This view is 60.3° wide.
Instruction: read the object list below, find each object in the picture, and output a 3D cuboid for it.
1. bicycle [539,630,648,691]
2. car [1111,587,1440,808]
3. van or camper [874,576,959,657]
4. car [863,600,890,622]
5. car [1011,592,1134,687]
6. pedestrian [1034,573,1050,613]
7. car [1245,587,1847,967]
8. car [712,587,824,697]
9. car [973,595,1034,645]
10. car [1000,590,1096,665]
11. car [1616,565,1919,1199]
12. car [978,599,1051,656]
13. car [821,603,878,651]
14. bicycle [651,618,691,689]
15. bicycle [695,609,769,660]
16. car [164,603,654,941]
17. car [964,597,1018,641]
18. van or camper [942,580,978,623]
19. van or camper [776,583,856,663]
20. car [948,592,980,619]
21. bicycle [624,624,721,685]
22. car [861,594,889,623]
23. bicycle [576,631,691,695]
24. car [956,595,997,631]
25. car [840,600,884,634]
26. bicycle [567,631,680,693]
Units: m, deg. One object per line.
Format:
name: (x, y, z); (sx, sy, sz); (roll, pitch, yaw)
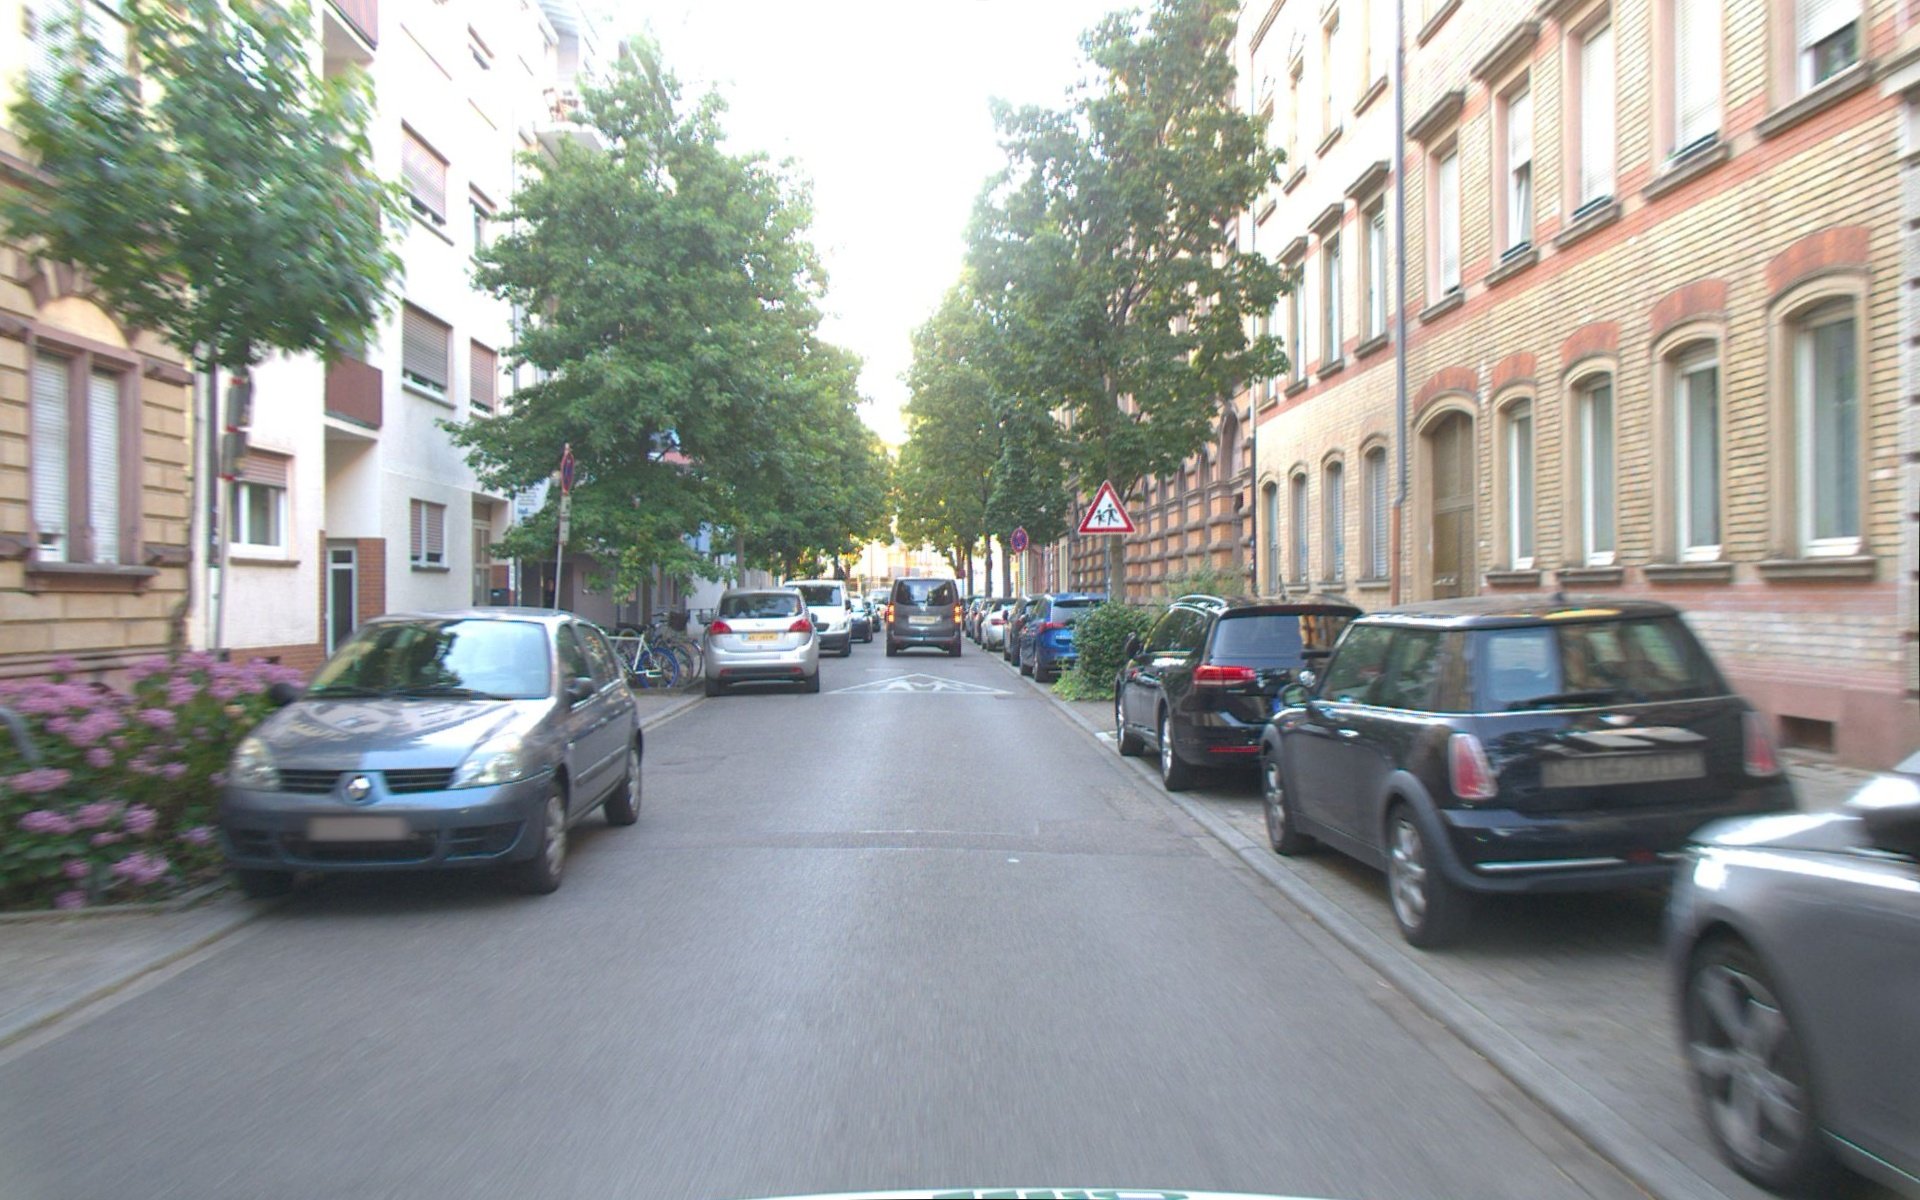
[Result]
bicycle: (-5.700, 0.935, 25.760); (1.643, 0.914, 0.379); (0, 0, -32)
car: (2.383, 0.668, 13.651); (1.731, 1.439, 4.472); (-3, 0, -1)
van or camper: (-1.033, 0.390, 41.356); (1.993, 1.931, 4.271); (0, 0, 0)
car: (-5.454, 0.719, 108.519); (1.706, 1.429, 3.373); (-1, 0, -2)
car: (1.895, 0.634, 28.893); (1.595, 1.492, 4.242); (-1, 0, -4)
pedestrian: (3.438, -0.284, 69.246); (0.614, 1.677, 0.531); (0, 0, -1)
car: (2.638, 0.691, 8.336); (1.603, 1.449, 3.562); (-2, 0, -3)
car: (-3.018, 0.622, 26.610); (1.631, 1.590, 3.996); (-1, 0, -5)
car: (1.365, 0.634, 52.997); (1.687, 1.475, 4.213); (-1, 0, -2)
car: (1.839, 0.563, 35.765); (1.677, 1.503, 4.190); (-1, 0, -2)
car: (2.915, 0.658, 2.735); (1.683, 1.502, 4.365); (-2, 0, -3)
car: (1.463, 0.715, 45.661); (1.659, 1.426, 4.644); (-2, 0, -2)
car: (-3.701, 0.881, 56.198); (1.793, 1.544, 4.514); (-1, 0, -2)
bicycle: (-4.704, 0.853, 26.965); (0.411, 1.123, 1.664); (0, 0, -2)
bicycle: (-5.606, 0.845, 40.783); (0.686, 1.184, 1.813); (-1, 0, 40)
car: (-2.777, 0.758, 9.176); (1.548, 1.445, 3.751); (-1, 0, -2)
car: (1.147, 0.702, 62.898); (1.664, 1.508, 3.997); (-3, 0, -4)
van or camper: (-0.030, 0.085, 104.886); (1.954, 2.644, 5.421); (0, 0, -3)
van or camper: (-3.587, 0.545, 41.857); (1.839, 1.875, 4.750); (-1, 0, -3)
car: (0.220, 0.320, 93.911); (1.715, 1.497, 3.775); (0, 0, -1)
bicycle: (-4.975, 0.940, 28.547); (1.694, 1.012, 0.575); (-1, 0, 32)
car: (-4.913, 0.473, 95.953); (1.597, 1.455, 3.542); (-1, 3, -3)
bicycle: (-4.931, 0.937, 25.013); (1.682, 0.923, 0.379); (0, 0, -32)
car: (0.741, 0.576, 76.714); (1.580, 1.586, 3.763); (-1, 0, -3)
car: (-4.381, 0.749, 74.247); (1.809, 1.477, 4.501); (0, 0, -1)
bicycle: (-5.158, 0.938, 25.408); (1.682, 0.914, 0.379); (0, 0, -32)
